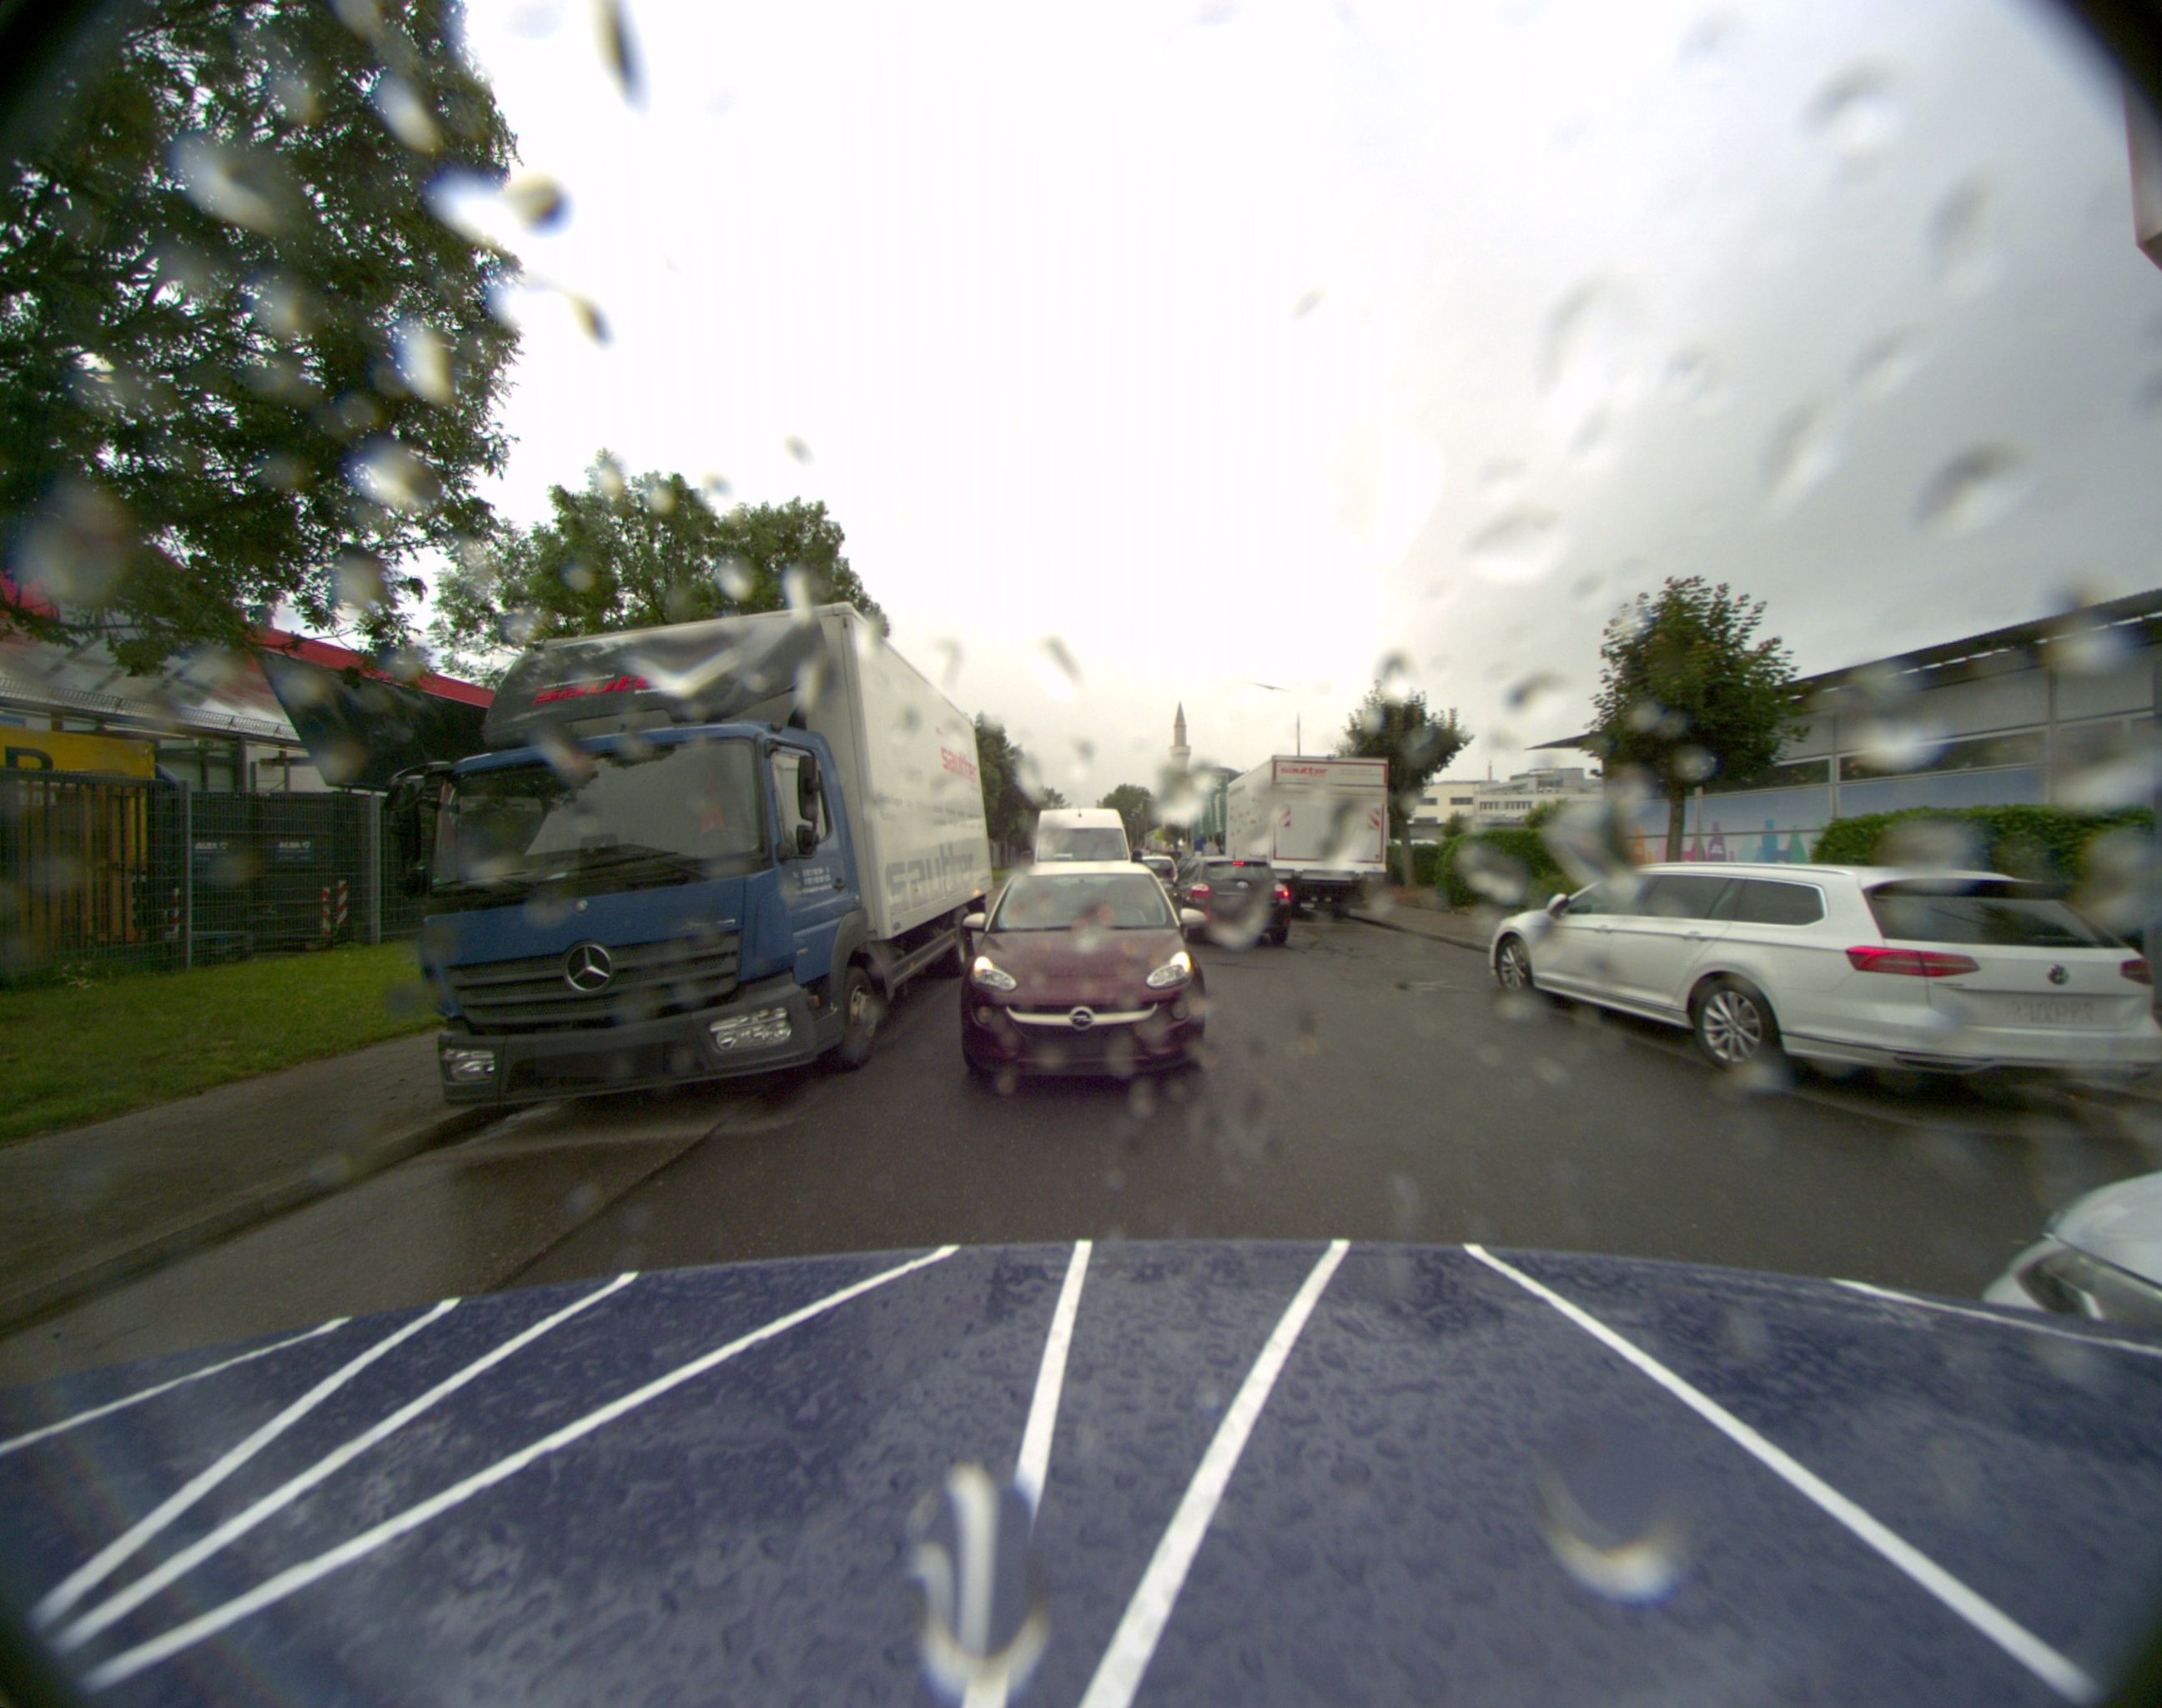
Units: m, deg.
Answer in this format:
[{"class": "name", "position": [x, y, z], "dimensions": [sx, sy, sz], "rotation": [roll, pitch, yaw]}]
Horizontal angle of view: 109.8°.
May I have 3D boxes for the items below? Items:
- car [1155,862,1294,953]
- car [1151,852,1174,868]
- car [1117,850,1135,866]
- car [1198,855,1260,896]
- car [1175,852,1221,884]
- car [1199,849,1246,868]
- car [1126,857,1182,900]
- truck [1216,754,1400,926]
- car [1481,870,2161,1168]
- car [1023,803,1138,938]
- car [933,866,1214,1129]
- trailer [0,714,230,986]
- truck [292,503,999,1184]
[{"class": "car", "position": [2.511, 0.890, 14.276], "dimensions": [1.735, 1.432, 3.999], "rotation": [0, 0, -2]}, {"class": "car", "position": [7.070, 0.484, 66.426], "dimensions": [1.579, 1.333, 3.610], "rotation": [-1, 0, 0]}, {"class": "car", "position": [4.835, 0.416, 82.109], "dimensions": [1.691, 1.588, 3.610], "rotation": [-1, 0, 0]}, {"class": "car", "position": [5.637, 0.782, 29.316], "dimensions": [1.691, 1.457, 3.513], "rotation": [-1, 0, 0]}, {"class": "car", "position": [5.647, 0.666, 36.997], "dimensions": [1.691, 1.457, 3.513], "rotation": [-1, 0, 0]}, {"class": "car", "position": [12.046, 0.352, 64.734], "dimensions": [3.609, 1.588, 1.692], "rotation": [-1, 1, -2]}, {"class": "car", "position": [2.595, 0.834, 27.746], "dimensions": [1.615, 1.430, 3.407], "rotation": [1, 0, -1]}, {"class": "truck", "position": [5.647, -0.321, 20.516], "dimensions": [2.888, 3.724, 7.868], "rotation": [-1, 0, 2]}, {"class": "car", "position": [5.323, 0.908, 6.199], "dimensions": [1.840, 1.426, 4.492], "rotation": [1, 0, 2]}, {"class": "car", "position": [-0.044, 0.299, 16.760], "dimensions": [2.085, 2.466, 5.346], "rotation": [-1, 0, -1]}, {"class": "car", "position": [-0.023, 0.896, 6.374], "dimensions": [1.637, 1.446, 3.578], "rotation": [-2, 0, 1]}, {"class": "trailer", "position": [-18.320, -0.009, 10.142], "dimensions": [2.974, 4.219, 9.469], "rotation": [-1, 1, 1]}, {"class": "truck", "position": [-2.881, -0.051, 8.274], "dimensions": [2.678, 3.670, 8.009], "rotation": [-4, 0, 2]}]
